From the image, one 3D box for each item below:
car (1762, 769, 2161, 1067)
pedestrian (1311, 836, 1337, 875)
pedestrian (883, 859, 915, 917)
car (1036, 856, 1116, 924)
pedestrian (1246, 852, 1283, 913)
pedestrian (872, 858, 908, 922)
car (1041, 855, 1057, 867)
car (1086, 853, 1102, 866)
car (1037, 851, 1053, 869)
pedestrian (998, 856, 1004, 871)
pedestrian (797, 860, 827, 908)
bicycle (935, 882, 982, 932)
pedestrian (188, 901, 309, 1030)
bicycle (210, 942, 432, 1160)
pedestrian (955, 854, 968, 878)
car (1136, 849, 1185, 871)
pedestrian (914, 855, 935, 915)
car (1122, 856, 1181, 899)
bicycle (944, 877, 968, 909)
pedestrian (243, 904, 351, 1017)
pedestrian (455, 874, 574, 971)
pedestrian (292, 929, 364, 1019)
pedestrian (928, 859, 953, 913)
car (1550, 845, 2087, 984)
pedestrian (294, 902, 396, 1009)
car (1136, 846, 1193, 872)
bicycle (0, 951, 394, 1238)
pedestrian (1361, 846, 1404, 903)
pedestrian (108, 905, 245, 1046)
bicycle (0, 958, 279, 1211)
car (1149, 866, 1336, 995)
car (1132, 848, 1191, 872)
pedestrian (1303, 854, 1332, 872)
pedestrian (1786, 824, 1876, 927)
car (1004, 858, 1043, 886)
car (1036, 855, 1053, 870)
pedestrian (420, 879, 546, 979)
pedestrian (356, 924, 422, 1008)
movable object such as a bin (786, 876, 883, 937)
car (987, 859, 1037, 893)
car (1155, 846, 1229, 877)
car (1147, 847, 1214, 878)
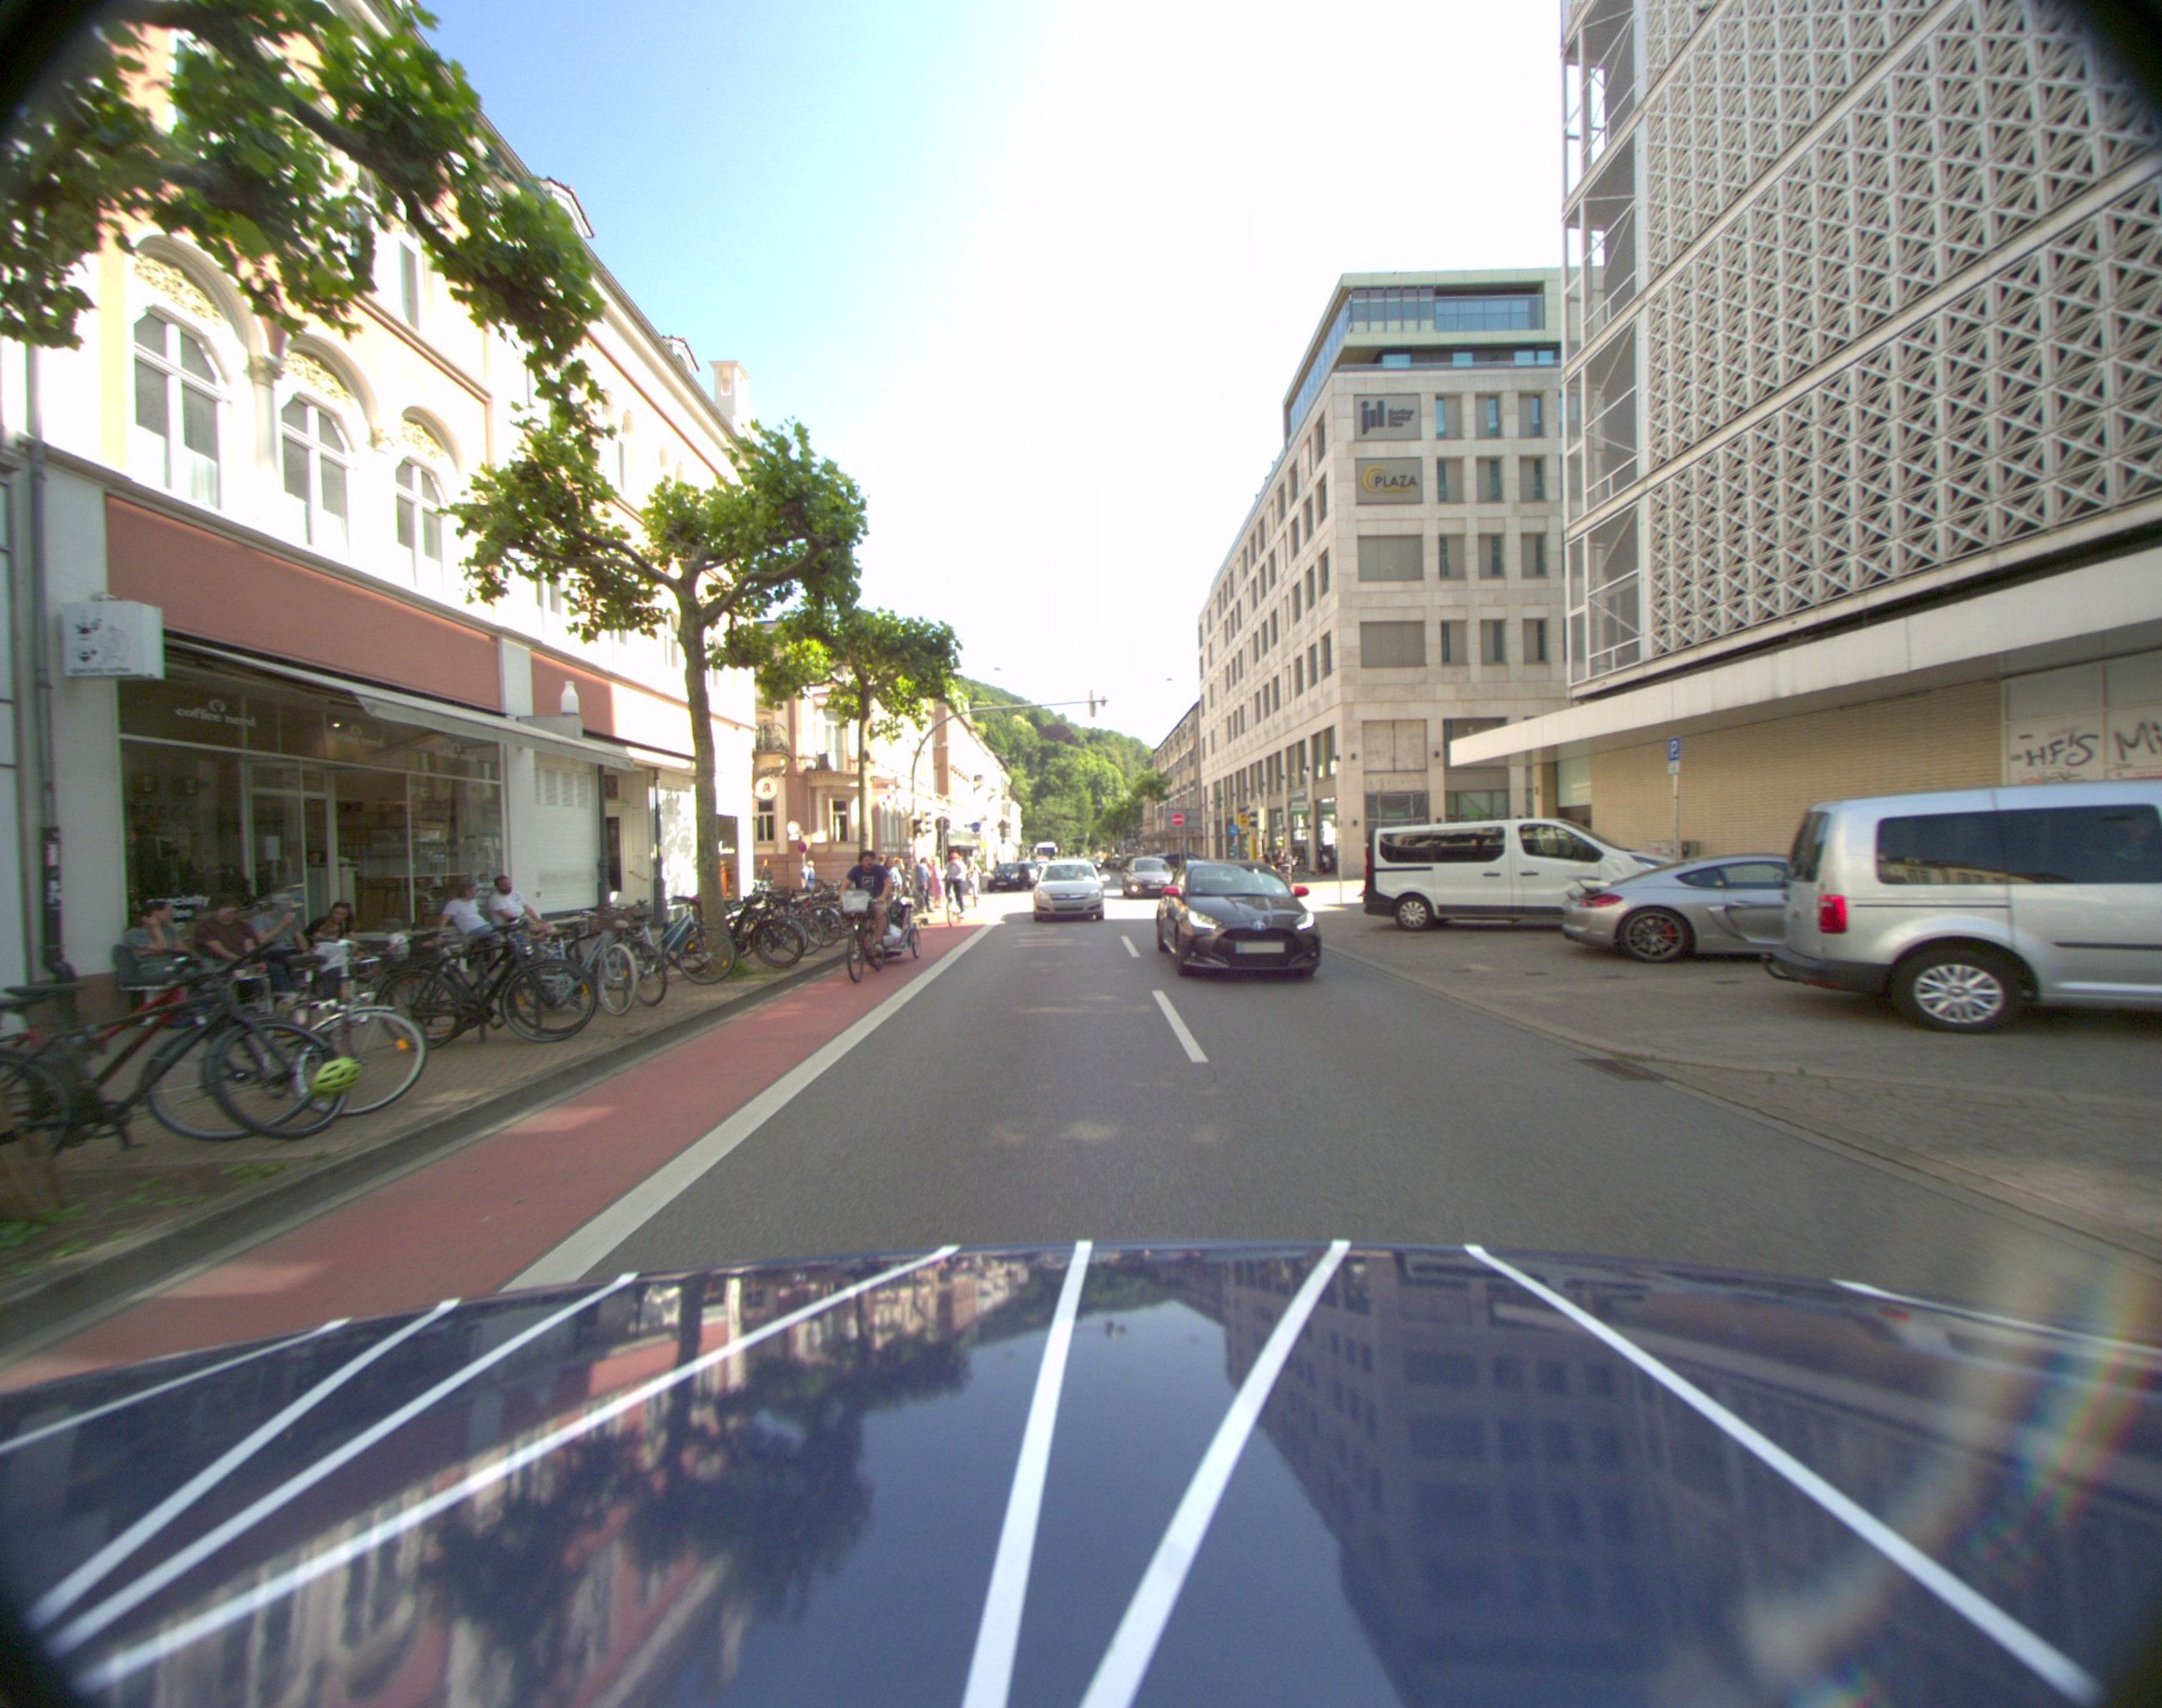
[{"bbox_3d":[7.901,0.377,5.329,4.434,1.898,2.013,-2,0,36],"label":"car"},{"bbox_3d":[12.213,0.062,38.210,0.840,1.868,0.844,-6,1,0],"label":"pedestrian"},{"bbox_3d":[-5.394,1.001,22.543,0.789,1.680,0.641,-1,0,-3],"label":"pedestrian"},{"bbox_3d":[-0.220,0.824,19.678,1.791,1.484,4.366,-2,0,-3],"label":"car"},{"bbox_3d":[4.831,0.747,20.056,0.641,1.550,0.680,-3,0,-12],"label":"pedestrian"},{"bbox_3d":[-5.466,1.017,21.741,0.789,1.784,0.641,-3,0,-3],"label":"pedestrian"},{"bbox_3d":[-4.045,0.840,96.084,1.869,1.479,4.413,-2,0,-3],"label":"car"},{"bbox_3d":[1.471,0.630,87.811,1.734,1.389,4.106,-2,0,0],"label":"car"},{"bbox_3d":[-4.346,0.775,91.065,1.703,1.900,4.606,-6,-1,-3],"label":"car"},{"bbox_3d":[-9.161,1.118,87.056,0.482,1.659,0.868,-1,1,-1],"label":"pedestrian"},{"bbox_3d":[-9.414,1.061,26.600,0.640,1.648,0.791,-2,-2,12],"label":"pedestrian"},{"bbox_3d":[-2.980,1.274,18.729,0.737,1.120,2.034,-2,-1,2],"label":"bicycle"},{"bbox_3d":[-9.142,1.203,8.365,0.683,1.330,0.531,-2,1,-3],"label":"pedestrian"},{"bbox_3d":[-4.990,1.200,4.959,1.841,1.120,0.449,-1,2,28],"label":"bicycle"},{"bbox_3d":[-9.154,0.923,58.394,0.840,1.781,0.767,-1,1,0],"label":"pedestrian"},{"bbox_3d":[6.975,0.515,67.183,3.997,1.519,1.819,-5,2,-1],"label":"car"},{"bbox_3d":[-4.731,0.933,23.000,0.453,1.784,0.608,-3,0,-3],"label":"pedestrian"},{"bbox_3d":[2.523,0.797,28.162,1.734,1.389,4.105,-1,1,-1],"label":"car"},{"bbox_3d":[-4.962,1.540,30.307,0.607,1.121,1.859,0,3,1],"label":"bicycle"},{"bbox_3d":[-9.173,1.227,8.909,0.683,1.246,0.531,0,0,-3],"label":"pedestrian"},{"bbox_3d":[-9.326,1.107,12.547,1.255,1.475,0.837,-2,1,-3],"label":"pedestrian"},{"bbox_3d":[-8.642,1.368,8.727,0.342,0.962,0.437,-2,1,1],"label":"pedestrian"},{"bbox_3d":[-4.702,1.055,25.465,0.641,1.700,0.789,-3,3,-3],"label":"pedestrian"},{"bbox_3d":[8.234,0.683,9.190,4.288,1.279,1.974,-4,0,31],"label":"car"},{"bbox_3d":[-9.189,1.245,9.508,0.641,1.246,0.608,0,2,-3],"label":"pedestrian"},{"bbox_3d":[6.665,0.408,60.674,4.029,1.584,1.822,-7,0,32],"label":"car"},{"bbox_3d":[-4.867,1.191,3.930,1.849,1.120,0.592,-3,2,-36],"label":"bicycle"},{"bbox_3d":[8.984,0.598,22.657,0.845,1.649,0.840,-1,-1,-20],"label":"pedestrian"},{"bbox_3d":[-9.219,1.217,7.767,0.683,1.325,0.531,-2,1,-3],"label":"pedestrian"},{"bbox_3d":[-5.616,1.239,3.980,1.849,1.120,0.447,-3,2,-37],"label":"bicycle"},{"bbox_3d":[2.046,0.912,10.805,1.868,1.469,4.107,1,-1,1],"label":"car"},{"bbox_3d":[6.787,0.505,64.183,4.493,1.424,1.865,-7,0,19],"label":"car"},{"bbox_3d":[12.674,0.494,40.804,1.253,0.920,0.841,-2,0,-2],"label":"pedestrian"},{"bbox_3d":[12.481,0.350,12.673,0.589,1.626,0.863,-3,1,1],"label":"pedestrian"},{"bbox_3d":[-3.292,1.001,44.221,1.957,1.416,4.885,-4,0,-2],"label":"car"},{"bbox_3d":[-4.113,0.934,85.357,1.799,1.516,4.262,-5,1,-3],"label":"car"},{"bbox_3d":[-9.163,1.128,11.686,1.236,1.414,0.789,-1,2,-3],"label":"pedestrian"},{"bbox_3d":[-8.543,1.375,9.394,0.365,0.962,0.437,-2,1,1],"label":"pedestrian"},{"bbox_3d":[-5.325,1.124,16.420,1.853,1.182,0.653,-4,0,15],"label":"movable object such as a bin"},{"bbox_3d":[-3.428,1.066,38.346,1.632,1.470,3.733,-2,1,9],"label":"car"},{"bbox_3d":[6.853,0.450,46.771,4.025,1.593,1.961,-4,1,22],"label":"car"},{"bbox_3d":[6.591,0.545,50.179,4.166,1.627,2.103,-5,0,8],"label":"car"}]
